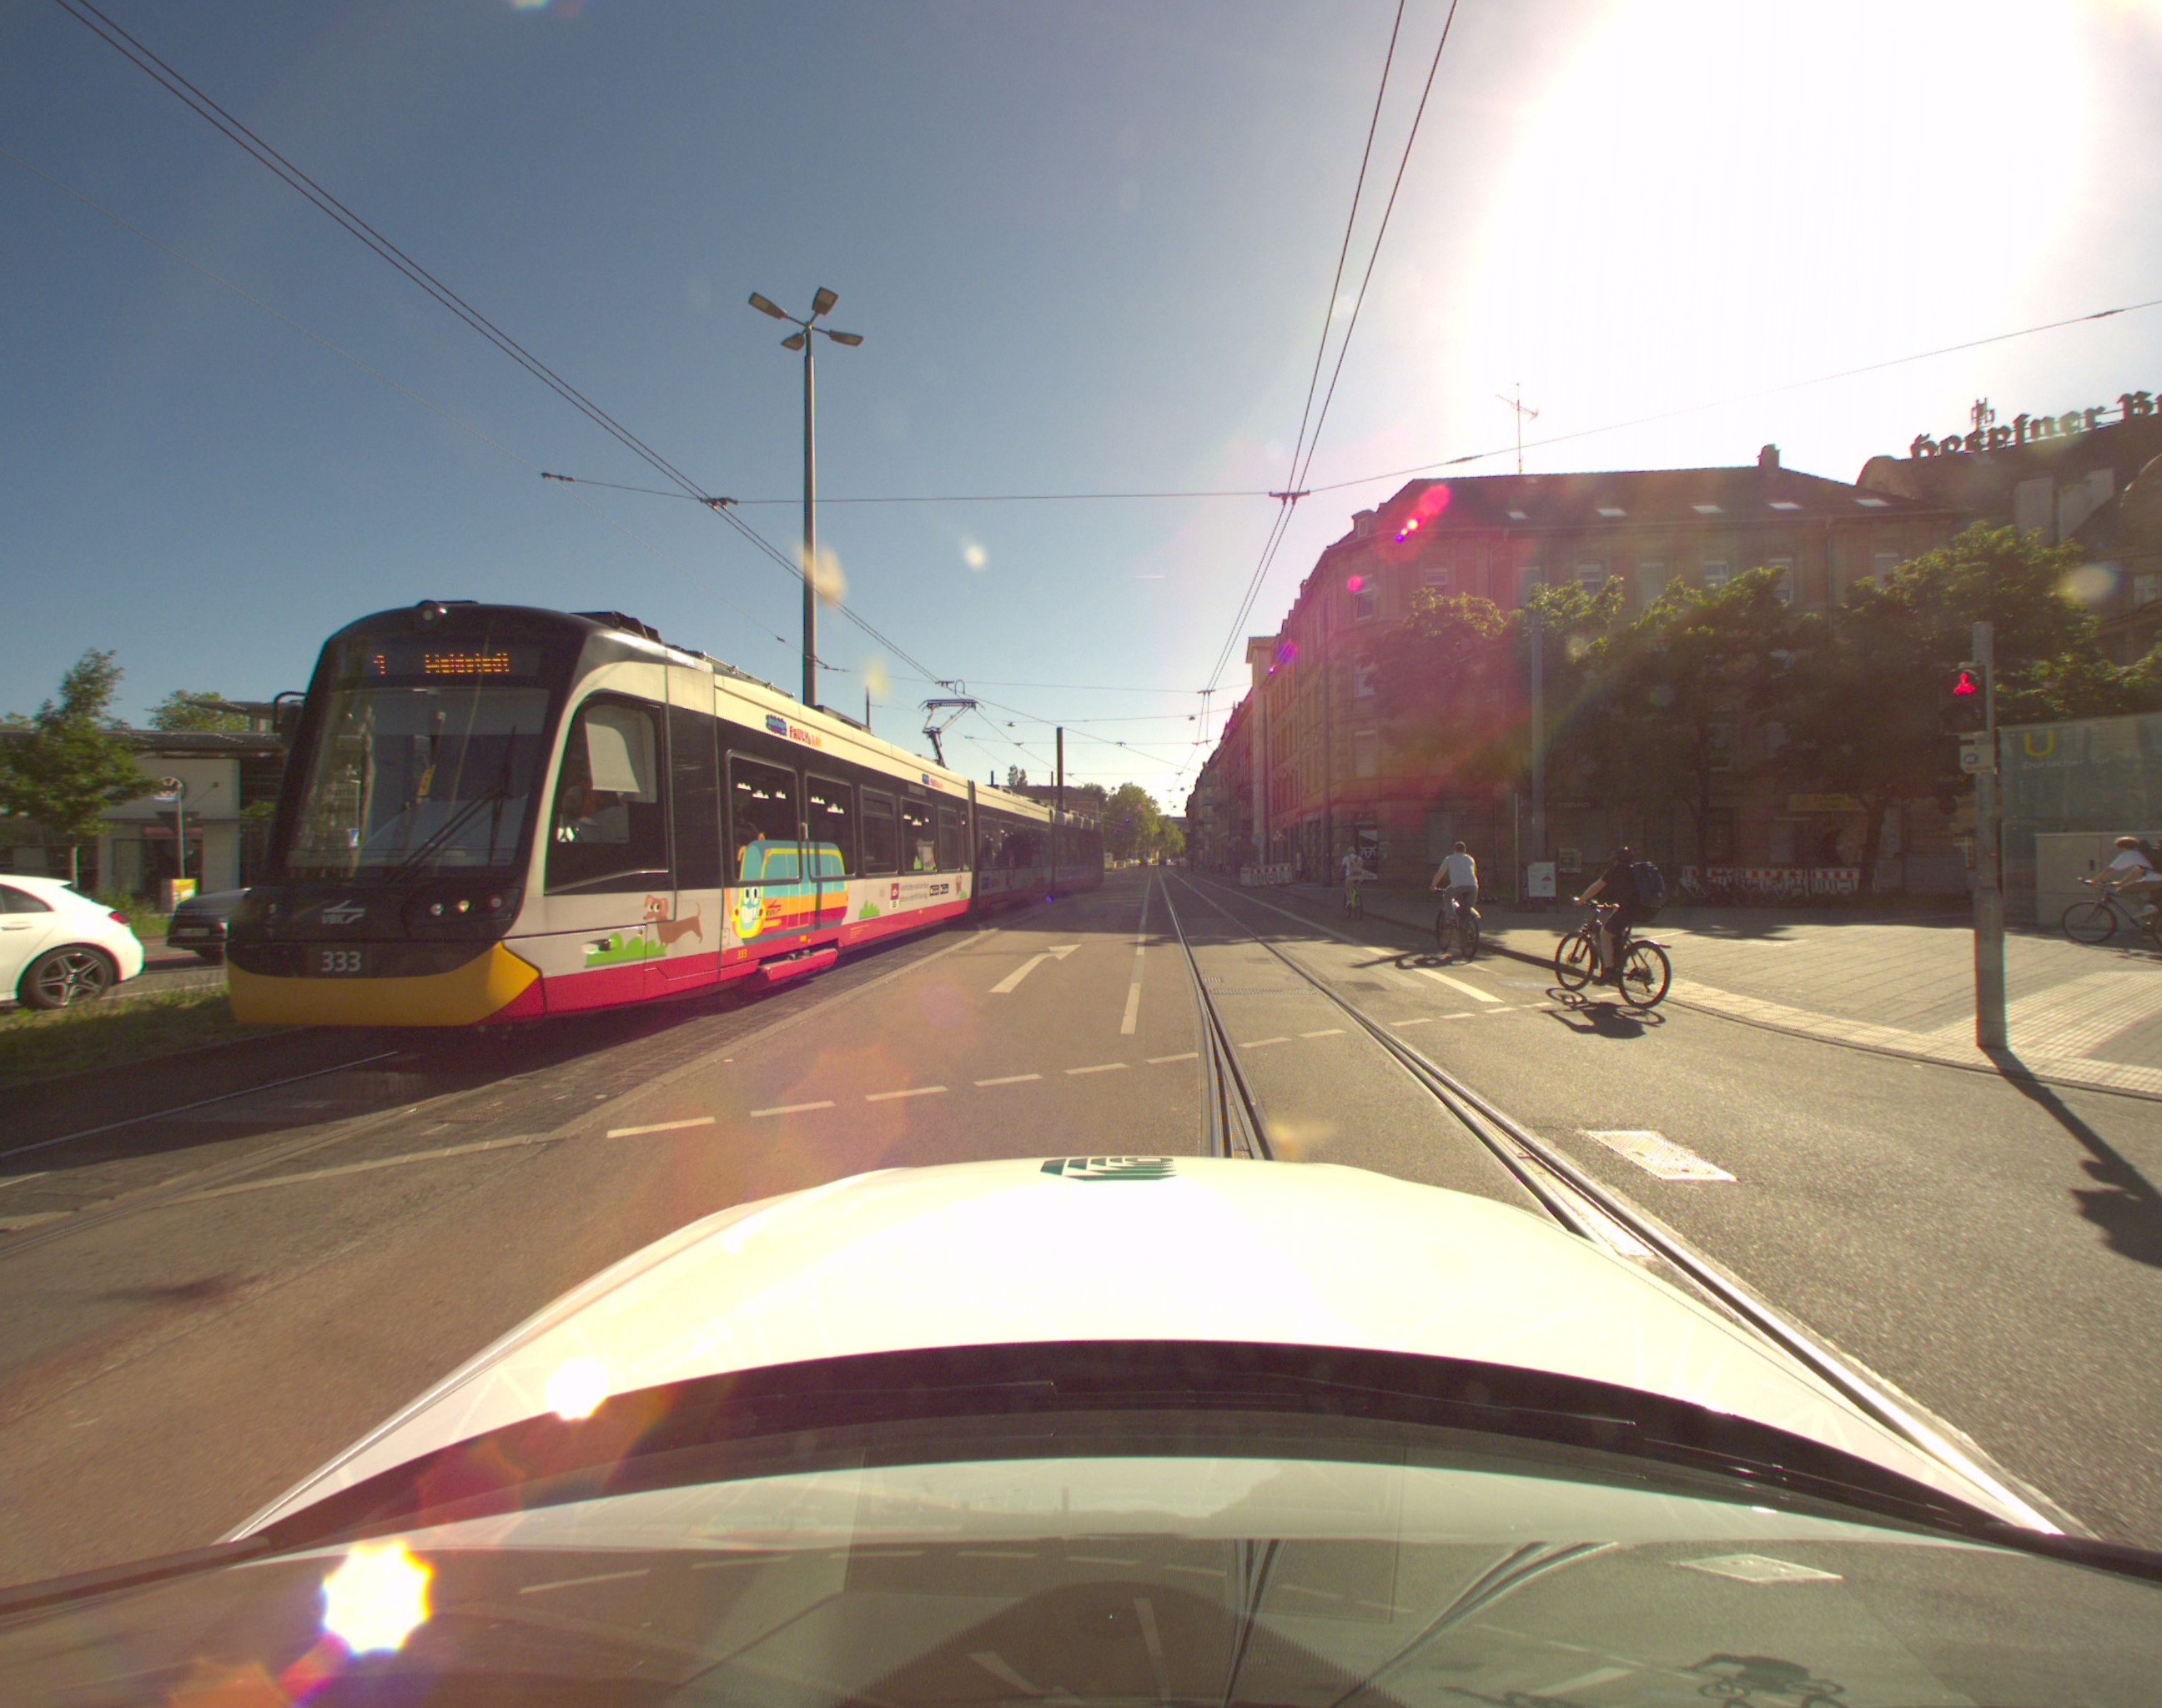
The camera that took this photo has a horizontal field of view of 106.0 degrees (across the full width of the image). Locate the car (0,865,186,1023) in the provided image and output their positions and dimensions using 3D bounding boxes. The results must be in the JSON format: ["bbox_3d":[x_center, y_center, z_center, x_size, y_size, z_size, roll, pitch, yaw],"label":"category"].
[{"bbox_3d":[-11.038,0.825,6.797,1.793,1.432,4.548,1,-1,6],"label":"car"}]

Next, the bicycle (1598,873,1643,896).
[{"bbox_3d":[20.839,1.174,31.481,1.408,0.856,0.406,1,-1,12],"label":"bicycle"}]

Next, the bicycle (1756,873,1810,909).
[{"bbox_3d":[21.541,1.131,25.025,0.402,1.061,1.461,1,-1,-1],"label":"bicycle"}]

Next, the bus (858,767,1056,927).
[{"bbox_3d":[-2.997,-0.127,23.839,2.825,3.590,10.748,0,0,7],"label":"bus"}]

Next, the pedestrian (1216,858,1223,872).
[{"bbox_3d":[15.879,1.292,93.296,0.794,1.605,0.653,0,-1,7],"label":"pedestrian"}]

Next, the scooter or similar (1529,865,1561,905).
[{"bbox_3d":[14.435,0.950,25.359,0.269,1.185,1.567,1,-1,6],"label":"scooter or similar"}]

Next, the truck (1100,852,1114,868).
[{"bbox_3d":[4.798,1.139,152.242,2.528,2.830,6.378,1,-1,2],"label":"truck"}]

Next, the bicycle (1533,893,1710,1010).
[{"bbox_3d":[5.995,1.028,9.184,0.531,1.117,1.929,0,-2,-6],"label":"bicycle"}]

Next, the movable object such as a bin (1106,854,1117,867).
[{"bbox_3d":[6.842,1.442,183.214,2.485,2.645,5.993,1,0,3],"label":"movable object such as a bin"}]

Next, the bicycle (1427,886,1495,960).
[{"bbox_3d":[6.267,1.101,13.502,0.384,1.069,1.936,0,-1,5],"label":"bicycle"}]

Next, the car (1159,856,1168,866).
[{"bbox_3d":[18.833,1.609,186.374,1.984,2.014,4.006,1,-1,6],"label":"car"}]

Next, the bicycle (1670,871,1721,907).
[{"bbox_3d":[18.976,1.064,25.184,0.403,1.061,1.347,2,-1,-10],"label":"bicycle"}]

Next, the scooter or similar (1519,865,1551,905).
[{"bbox_3d":[14.121,0.943,25.376,0.269,1.185,1.567,1,-1,6],"label":"scooter or similar"}]

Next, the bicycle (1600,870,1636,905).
[{"bbox_3d":[16.696,1.023,25.339,0.400,1.061,1.487,1,-1,11],"label":"bicycle"}]

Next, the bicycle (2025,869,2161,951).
[{"bbox_3d":[15.813,0.826,12.405,0.530,1.117,1.932,1,1,-3],"label":"bicycle"}]

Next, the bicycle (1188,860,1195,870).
[{"bbox_3d":[13.605,1.361,100.480,0.678,1.114,2.710,1,-1,5],"label":"bicycle"}]

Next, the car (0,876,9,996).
[{"bbox_3d":[-13.977,0.929,7.839,1.793,1.432,4.006,1,-1,6],"label":"car"}]

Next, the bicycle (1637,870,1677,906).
[{"bbox_3d":[17.885,1.038,25.317,0.401,1.061,1.354,1,-1,6],"label":"bicycle"}]

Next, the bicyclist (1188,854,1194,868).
[{"bbox_3d":[13.600,0.831,100.765,0.664,1.697,1.044,1,-1,5],"label":"bicyclist"}]

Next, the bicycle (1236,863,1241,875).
[{"bbox_3d":[15.478,1.475,80.177,0.407,1.121,1.902,-2,-1,9],"label":"bicycle"}]

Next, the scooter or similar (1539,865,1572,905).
[{"bbox_3d":[14.771,0.942,25.393,0.269,1.196,1.567,1,-1,6],"label":"scooter or similar"}]

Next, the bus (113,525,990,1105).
[{"bbox_3d":[-4.148,-0.209,11.877,2.827,3.590,13.516,0,0,6],"label":"bus"}]

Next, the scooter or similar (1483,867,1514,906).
[{"bbox_3d":[13.170,1.007,25.743,0.269,1.163,1.706,1,-1,6],"label":"scooter or similar"}]

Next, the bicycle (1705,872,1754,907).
[{"bbox_3d":[20.374,1.106,25.597,0.401,1.061,1.462,1,-1,2],"label":"bicycle"}]

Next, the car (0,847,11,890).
[{"bbox_3d":[-53.103,0.625,37.596,3.994,2.014,1.990,2,-1,-15],"label":"car"}]

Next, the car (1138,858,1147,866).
[{"bbox_3d":[13.225,1.763,174.492,1.750,1.697,4.151,1,-1,6],"label":"car"}]

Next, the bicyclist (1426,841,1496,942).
[{"bbox_3d":[6.241,0.603,13.416,0.779,1.593,0.887,0,-1,5],"label":"bicyclist"}]

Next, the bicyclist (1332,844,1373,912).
[{"bbox_3d":[6.916,0.606,20.772,0.678,1.683,1.121,1,-1,2],"label":"bicyclist"}]

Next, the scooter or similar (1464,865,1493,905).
[{"bbox_3d":[12.547,0.961,25.742,0.269,1.219,1.706,1,-1,6],"label":"scooter or similar"}]

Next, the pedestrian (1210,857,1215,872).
[{"bbox_3d":[15.345,1.259,94.944,0.549,1.701,0.475,-2,-2,12],"label":"pedestrian"}]

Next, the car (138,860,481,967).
[{"bbox_3d":[-13.122,0.935,14.294,1.793,1.578,4.171,-1,-1,6],"label":"car"}]

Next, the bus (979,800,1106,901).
[{"bbox_3d":[-1.224,-0.102,34.729,2.823,3.590,11.304,0,0,11],"label":"bus"}]

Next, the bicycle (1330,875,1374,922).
[{"bbox_3d":[6.918,1.113,20.870,0.529,1.117,1.934,1,-1,2],"label":"bicycle"}]

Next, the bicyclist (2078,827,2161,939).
[{"bbox_3d":[15.796,0.428,12.182,0.597,1.613,0.951,1,-1,-4],"label":"bicyclist"}]

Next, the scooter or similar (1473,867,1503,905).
[{"bbox_3d":[12.842,1.000,25.748,0.269,1.157,1.706,1,-1,6],"label":"scooter or similar"}]

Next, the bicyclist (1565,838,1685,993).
[{"bbox_3d":[6.021,0.656,9.062,0.622,1.613,0.979,1,-1,-6],"label":"bicyclist"}]
